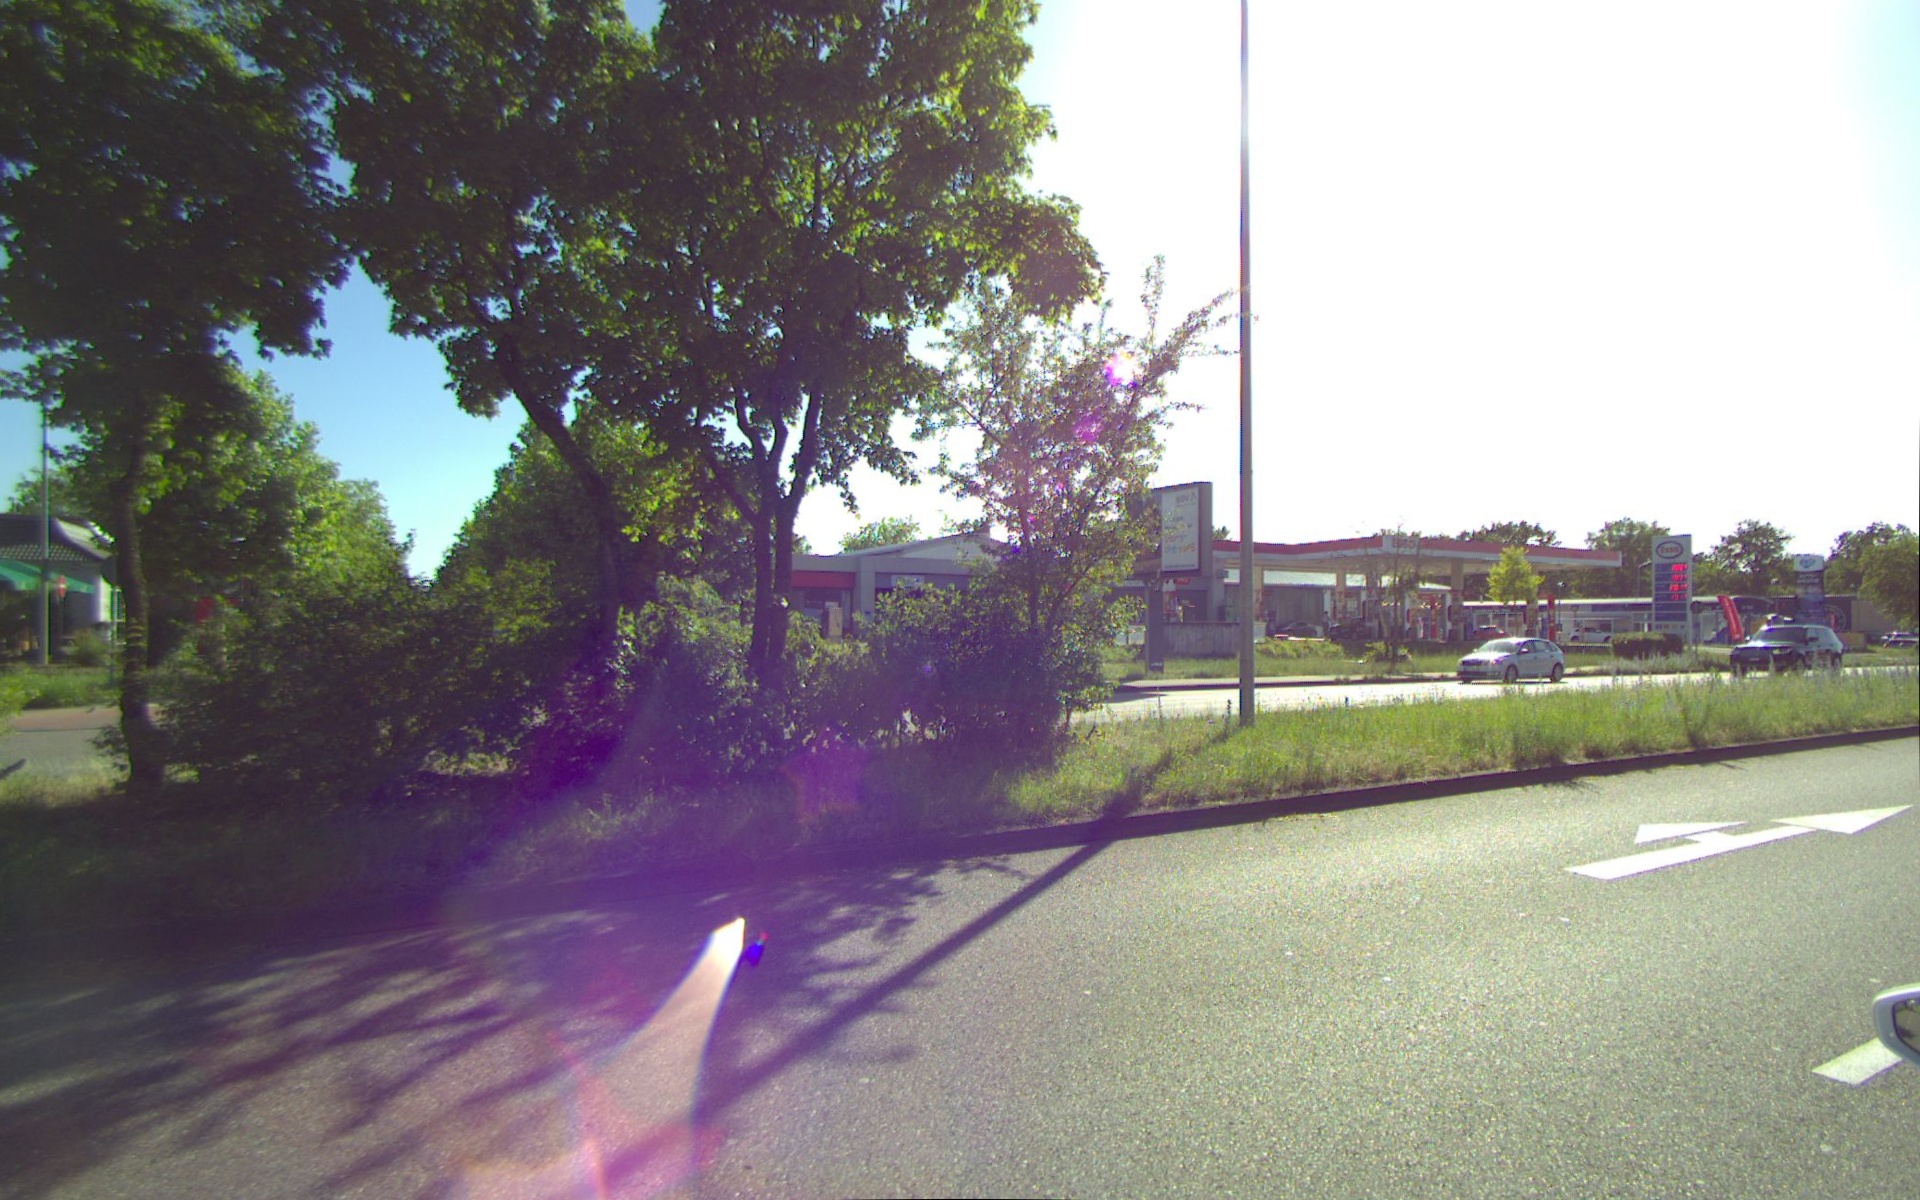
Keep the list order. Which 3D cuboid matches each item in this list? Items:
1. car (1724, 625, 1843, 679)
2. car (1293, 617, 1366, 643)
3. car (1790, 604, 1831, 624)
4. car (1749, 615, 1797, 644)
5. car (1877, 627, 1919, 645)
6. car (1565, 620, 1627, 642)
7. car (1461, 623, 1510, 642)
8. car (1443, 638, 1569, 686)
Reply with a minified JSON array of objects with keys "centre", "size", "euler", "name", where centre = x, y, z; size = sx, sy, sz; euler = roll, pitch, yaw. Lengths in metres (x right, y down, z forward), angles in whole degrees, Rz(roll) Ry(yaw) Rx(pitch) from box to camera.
[{"centre":[29.571,1.857,36.050],"size":[4.615,1.825,1.732],"euler":[1,-4,-30],"name":"car"},{"centre":[22.098,1.772,60.265],"size":[1.971,1.494,3.979],"euler":[0,-2,-23],"name":"car"},{"centre":[87.903,1.489,103.856],"size":[1.743,2.040,3.796],"euler":[0,-1,15],"name":"car"},{"centre":[65.860,2.393,81.389],"size":[3.954,2.239,1.810],"euler":[1,-1,-31],"name":"car"},{"centre":[101.141,3.860,107.949],"size":[1.888,1.806,4.090],"euler":[0,-1,11],"name":"car"},{"centre":[57.622,2.786,91.082],"size":[1.978,1.867,4.361],"euler":[1,-1,-32],"name":"car"},{"centre":[45.505,2.831,86.943],"size":[4.241,1.570,1.803],"euler":[1,-1,-29],"name":"car"},{"centre":[17.986,2.007,33.062],"size":[4.159,1.474,1.732],"euler":[1,-3,-30],"name":"car"}]
